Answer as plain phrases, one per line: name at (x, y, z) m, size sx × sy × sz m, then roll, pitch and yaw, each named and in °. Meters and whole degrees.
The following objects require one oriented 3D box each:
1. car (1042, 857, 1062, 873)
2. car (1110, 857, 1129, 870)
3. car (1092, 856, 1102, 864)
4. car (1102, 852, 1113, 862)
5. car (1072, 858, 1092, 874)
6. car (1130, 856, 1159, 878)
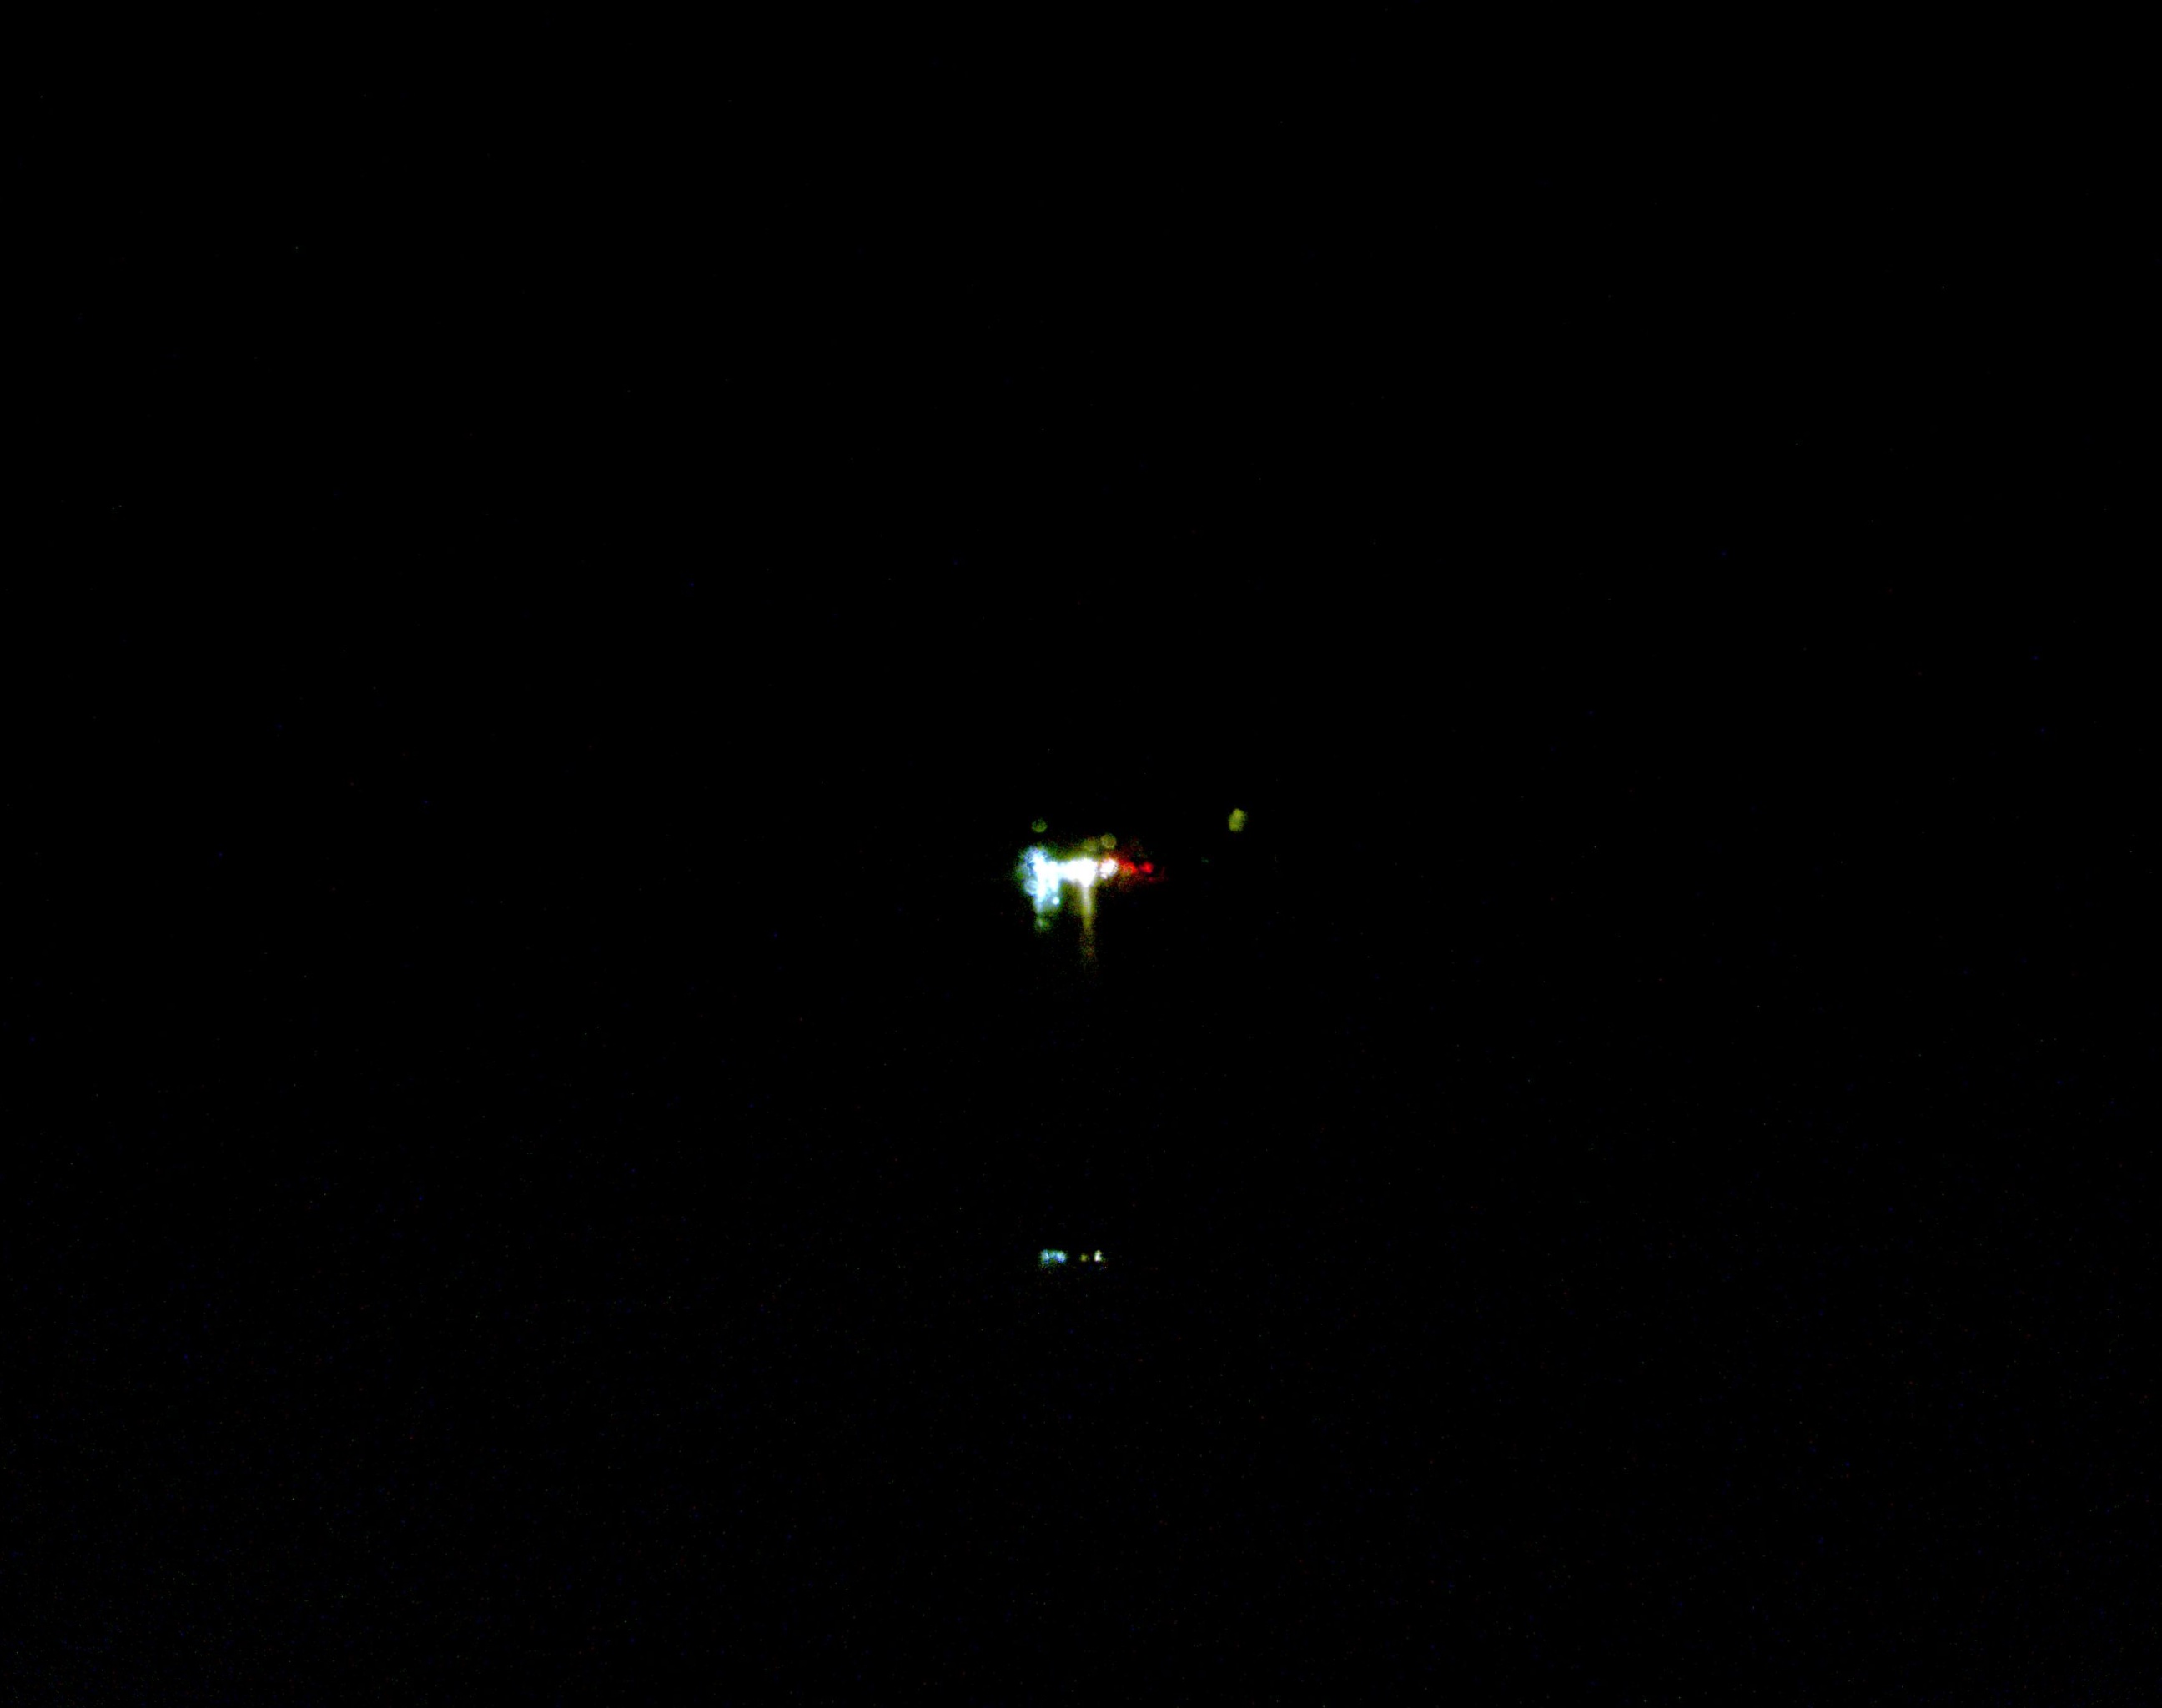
car at (-3.146, 1.146, 81.950) m, size 1.999 × 1.575 × 3.999 m, roll -4°, pitch 0°, yaw -2°
car at (4.443, 1.113, 88.131) m, size 1.999 × 1.409 × 4.665 m, roll -2°, pitch 0°, yaw 0°
car at (3.262, 1.171, 151.353) m, size 1.904 × 1.635 × 3.791 m, roll -2°, pitch 0°, yaw 0°
car at (4.383, 0.460, 125.256) m, size 1.794 × 1.681 × 4.000 m, roll -2°, pitch 0°, yaw 2°
car at (0.104, 1.322, 83.713) m, size 1.999 × 1.575 × 4.000 m, roll -2°, pitch 0°, yaw 0°
car at (4.629, 0.949, 55.724) m, size 1.998 × 1.489 × 3.775 m, roll -2°, pitch 0°, yaw 4°
